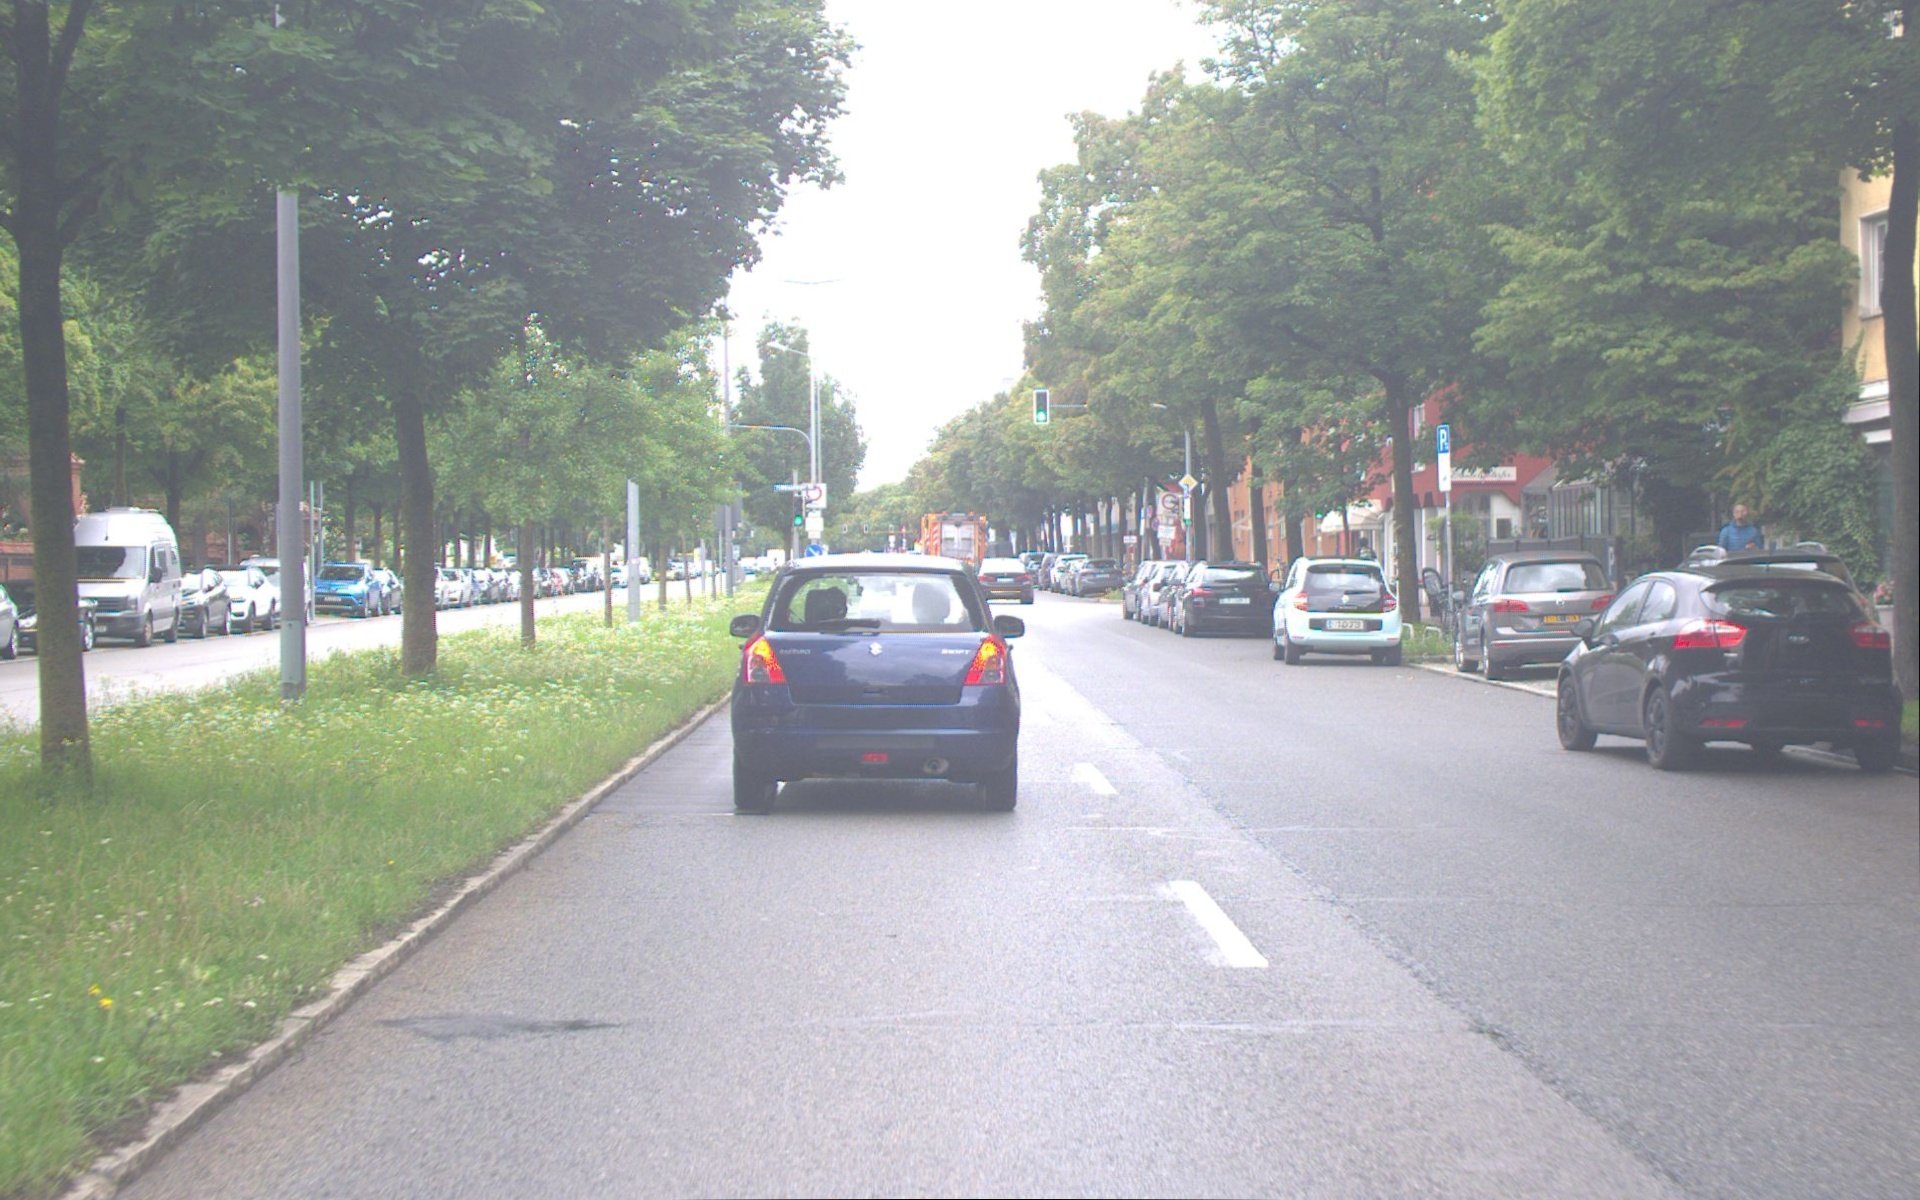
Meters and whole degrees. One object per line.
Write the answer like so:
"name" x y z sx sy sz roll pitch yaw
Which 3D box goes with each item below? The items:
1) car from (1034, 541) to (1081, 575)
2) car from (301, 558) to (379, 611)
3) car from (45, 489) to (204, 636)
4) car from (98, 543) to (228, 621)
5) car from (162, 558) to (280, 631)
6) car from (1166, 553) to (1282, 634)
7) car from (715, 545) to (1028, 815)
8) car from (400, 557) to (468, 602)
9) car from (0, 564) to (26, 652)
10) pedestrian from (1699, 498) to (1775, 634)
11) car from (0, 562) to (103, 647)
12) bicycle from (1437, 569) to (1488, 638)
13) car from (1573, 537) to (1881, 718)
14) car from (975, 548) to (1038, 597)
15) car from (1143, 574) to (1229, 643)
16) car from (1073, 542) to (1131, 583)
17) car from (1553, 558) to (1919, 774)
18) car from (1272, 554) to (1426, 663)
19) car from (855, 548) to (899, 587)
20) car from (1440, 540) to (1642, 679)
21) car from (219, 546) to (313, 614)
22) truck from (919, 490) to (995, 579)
"car" 4.569 -1.981 161.463 1.993 1.525 4.000 -1 1 -1
"car" -18.797 -0.477 104.326 1.706 1.529 4.000 -1 1 -1
"car" -17.498 -0.804 72.306 2.185 2.943 6.193 0 1 -3
"car" -18.336 -0.439 79.301 2.185 1.730 4.579 0 1 -3
"car" -18.196 -0.155 84.837 2.185 1.730 4.579 0 1 -3
"car" 5.072 -0.150 66.557 1.653 1.447 4.709 -1 1 -2
"car" -0.500 0.419 21.363 1.753 1.499 4.000 0 1 0
"car" -18.484 -0.737 120.910 1.801 1.529 4.000 -1 1 -1
"car" -17.729 0.150 59.908 1.813 1.531 4.442 0 1 -2
"pedestrian" 10.829 -0.479 47.931 0.792 1.849 0.777 -2 1 -3
"car" -17.774 0.058 65.532 1.813 1.531 4.820 0 1 -2
"bicycle" 7.350 0.041 50.330 0.448 0.977 1.799 0 1 -1
"car" 7.401 0.209 33.599 1.993 1.637 4.333 -1 1 -1
"car" 1.455 -0.879 108.962 1.821 1.472 4.691 2 1 -1
"car" 5.040 0.172 77.142 1.695 1.447 4.123 -1 1 1
"car" 5.484 -1.465 132.754 1.993 1.525 4.000 -1 1 -1
"car" 5.775 0.427 25.588 1.993 1.447 4.000 0 1 -1
"car" 5.626 0.092 50.106 1.653 1.447 4.000 -1 1 -1
"car" -3.290 -1.312 136.938 1.718 1.495 4.301 0 1 -1
"car" 7.353 0.073 43.881 1.815 1.620 4.308 -2 1 0
"car" -18.156 -0.542 90.077 1.706 1.728 4.000 -1 1 -1
"truck" -0.124 -2.720 143.506 3.041 3.545 13.675 0 1 0
